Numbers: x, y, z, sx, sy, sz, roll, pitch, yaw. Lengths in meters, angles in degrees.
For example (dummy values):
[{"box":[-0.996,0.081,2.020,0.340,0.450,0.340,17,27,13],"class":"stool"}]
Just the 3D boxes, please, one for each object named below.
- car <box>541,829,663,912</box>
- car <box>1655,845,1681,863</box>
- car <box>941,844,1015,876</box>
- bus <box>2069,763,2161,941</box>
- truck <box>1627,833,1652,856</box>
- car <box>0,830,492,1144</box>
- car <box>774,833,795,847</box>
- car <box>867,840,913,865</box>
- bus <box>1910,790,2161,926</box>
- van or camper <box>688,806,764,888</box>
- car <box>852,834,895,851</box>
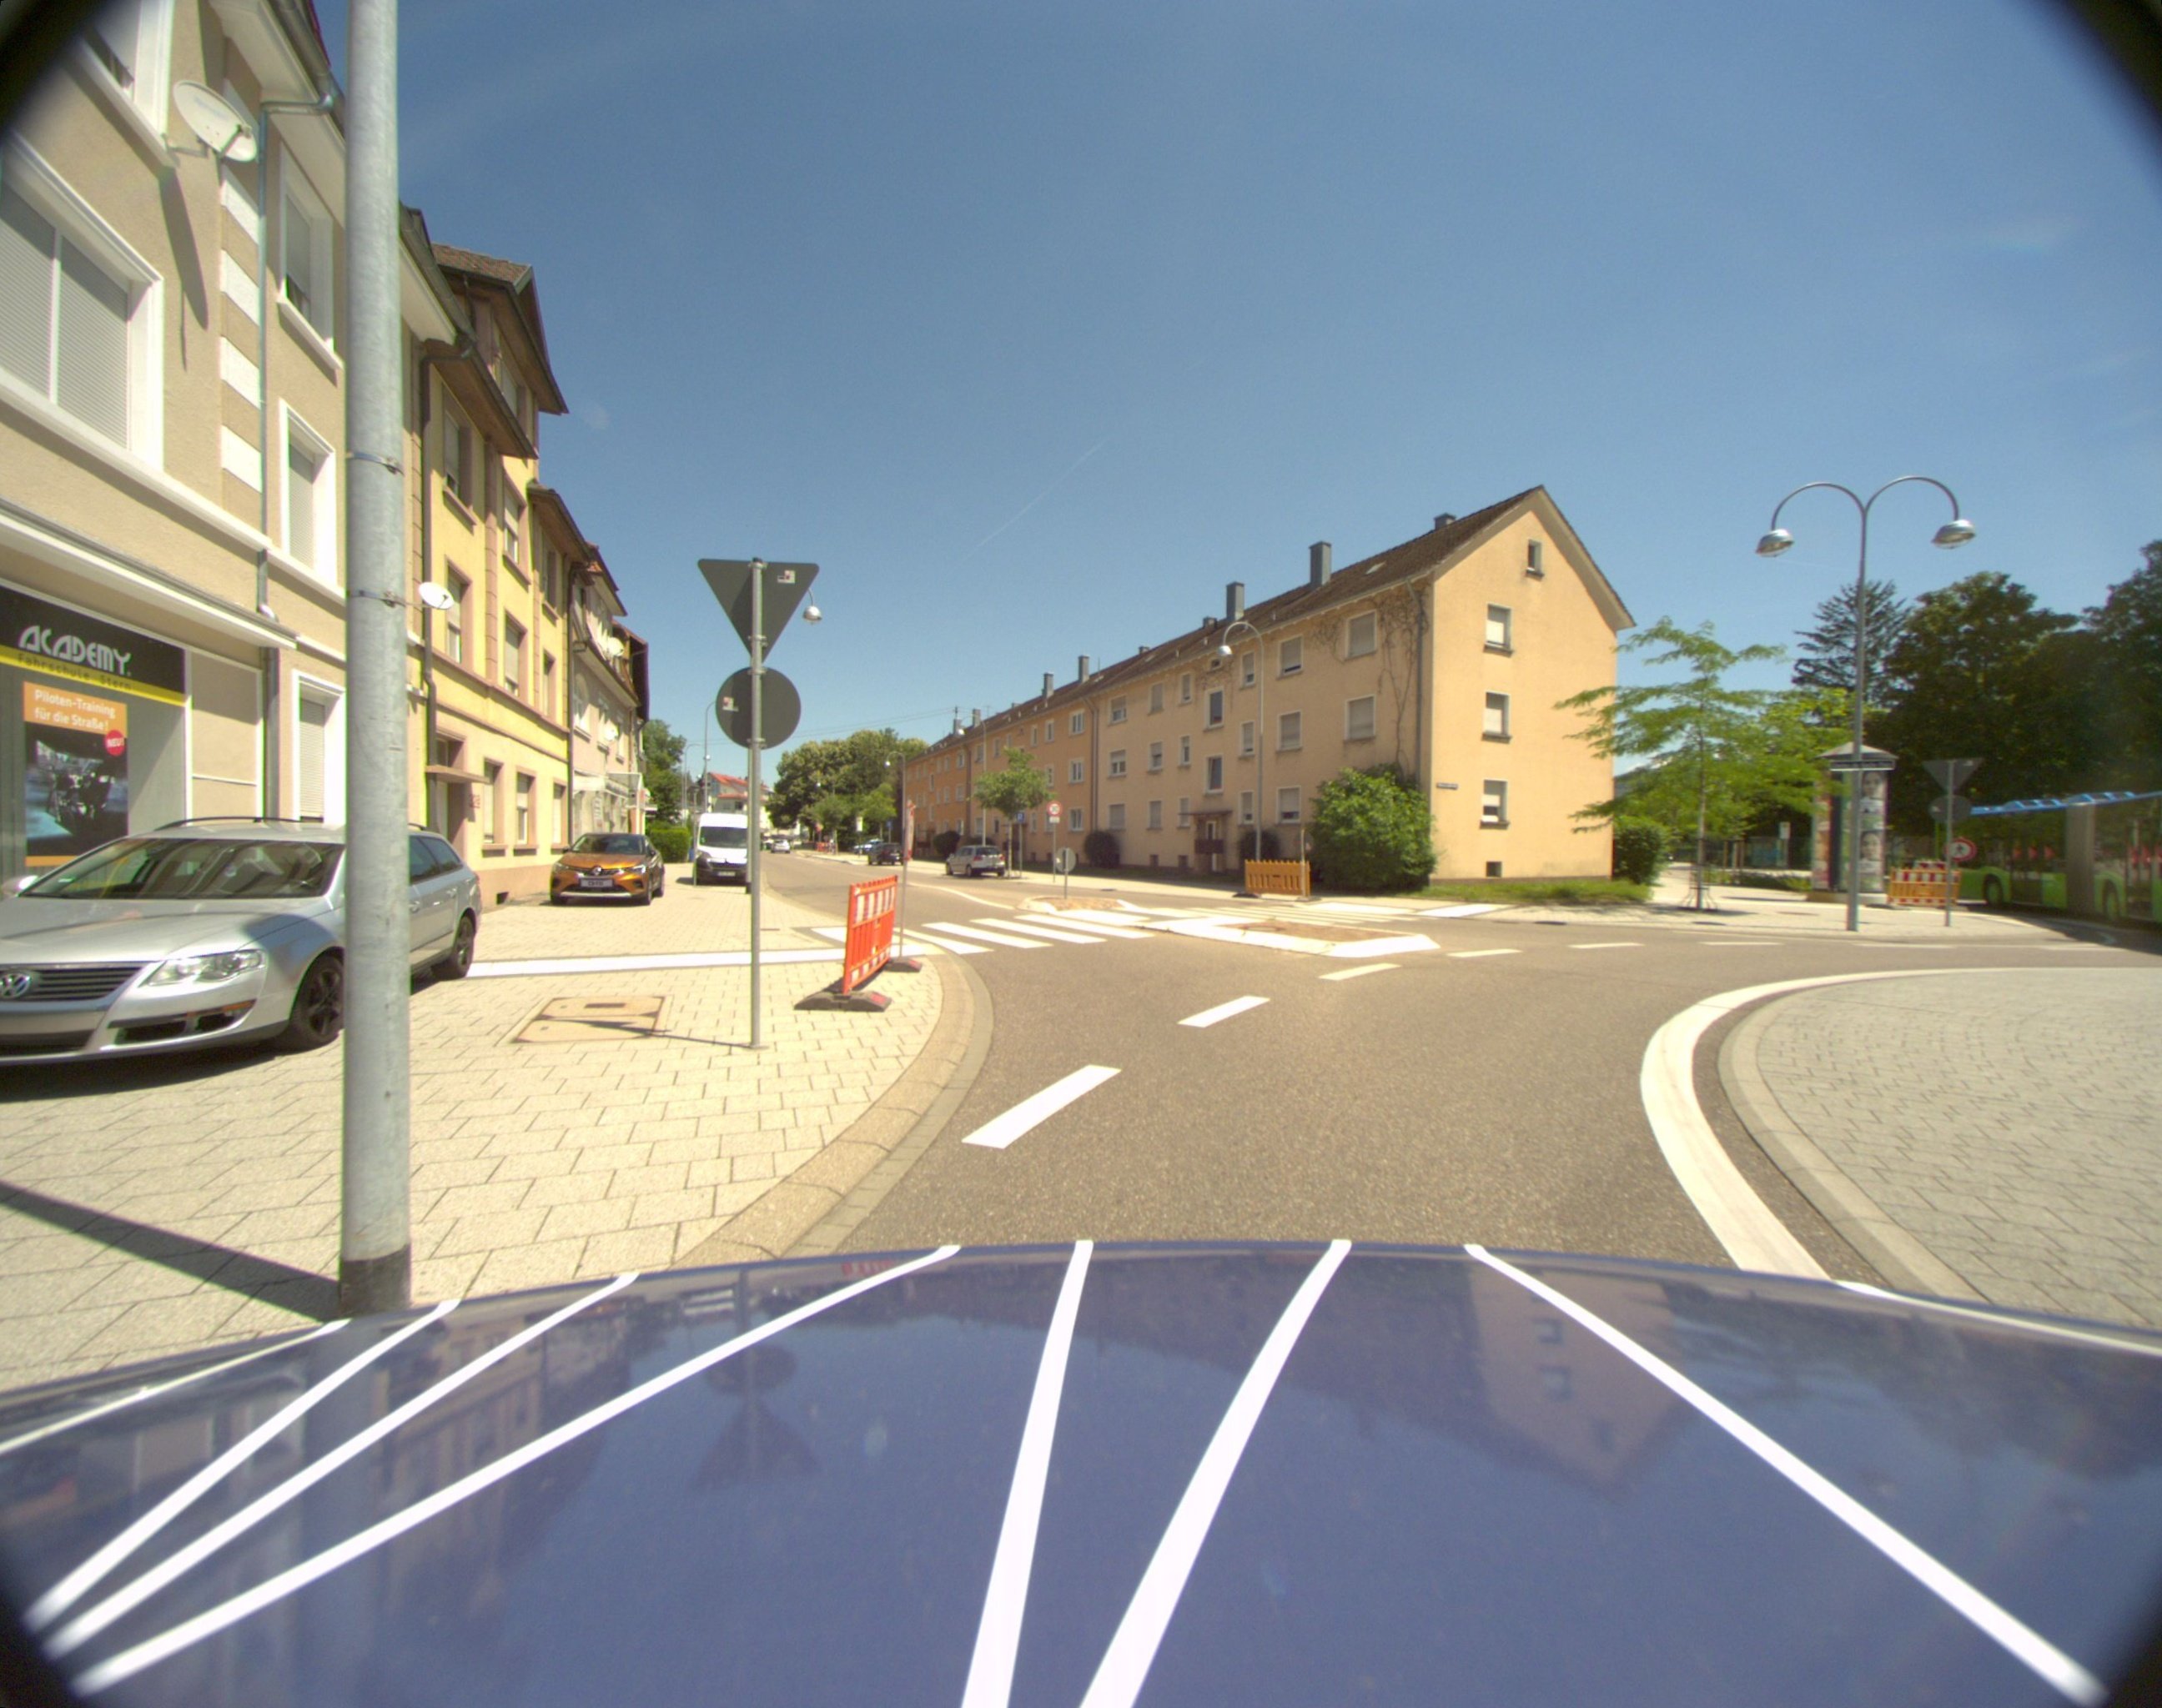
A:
[{"box":[-10.655,0.305,17.197,1.681,1.610,4.353,3,0,-24],"class":"car"},{"box":[67.572,-0.013,87.521,1.994,2.002,4.008,1,2,34],"class":"car"},{"box":[-5.007,0.252,36.479,2.003,1.412,4.077,-2,2,-32],"class":"car"},{"box":[21.186,-0.060,13.109,2.955,3.305,10.106,-1,0,40],"class":"bus"},{"box":[79.243,-1.317,107.907,2.484,3.162,8.466,1,1,34],"class":"truck"},{"box":[-6.296,0.610,5.817,1.772,1.521,4.679,1,1,-25],"class":"car"},{"box":[-31.522,-1.518,80.781,1.667,1.488,3.750,0,1,-29],"class":"car"},{"box":[-12.839,-0.138,50.976,1.866,1.498,4.551,-2,2,-28],"class":"car"},{"box":[26.891,0.016,20.986,2.823,3.092,8.939,-1,0,30],"class":"bus"},{"box":[-12.703,-0.267,27.186,2.175,2.574,5.752,1,1,-26],"class":"van or camper"},{"box":[-23.975,-1.333,87.927,4.446,1.864,1.813,-2,3,-37],"class":"car"}]
